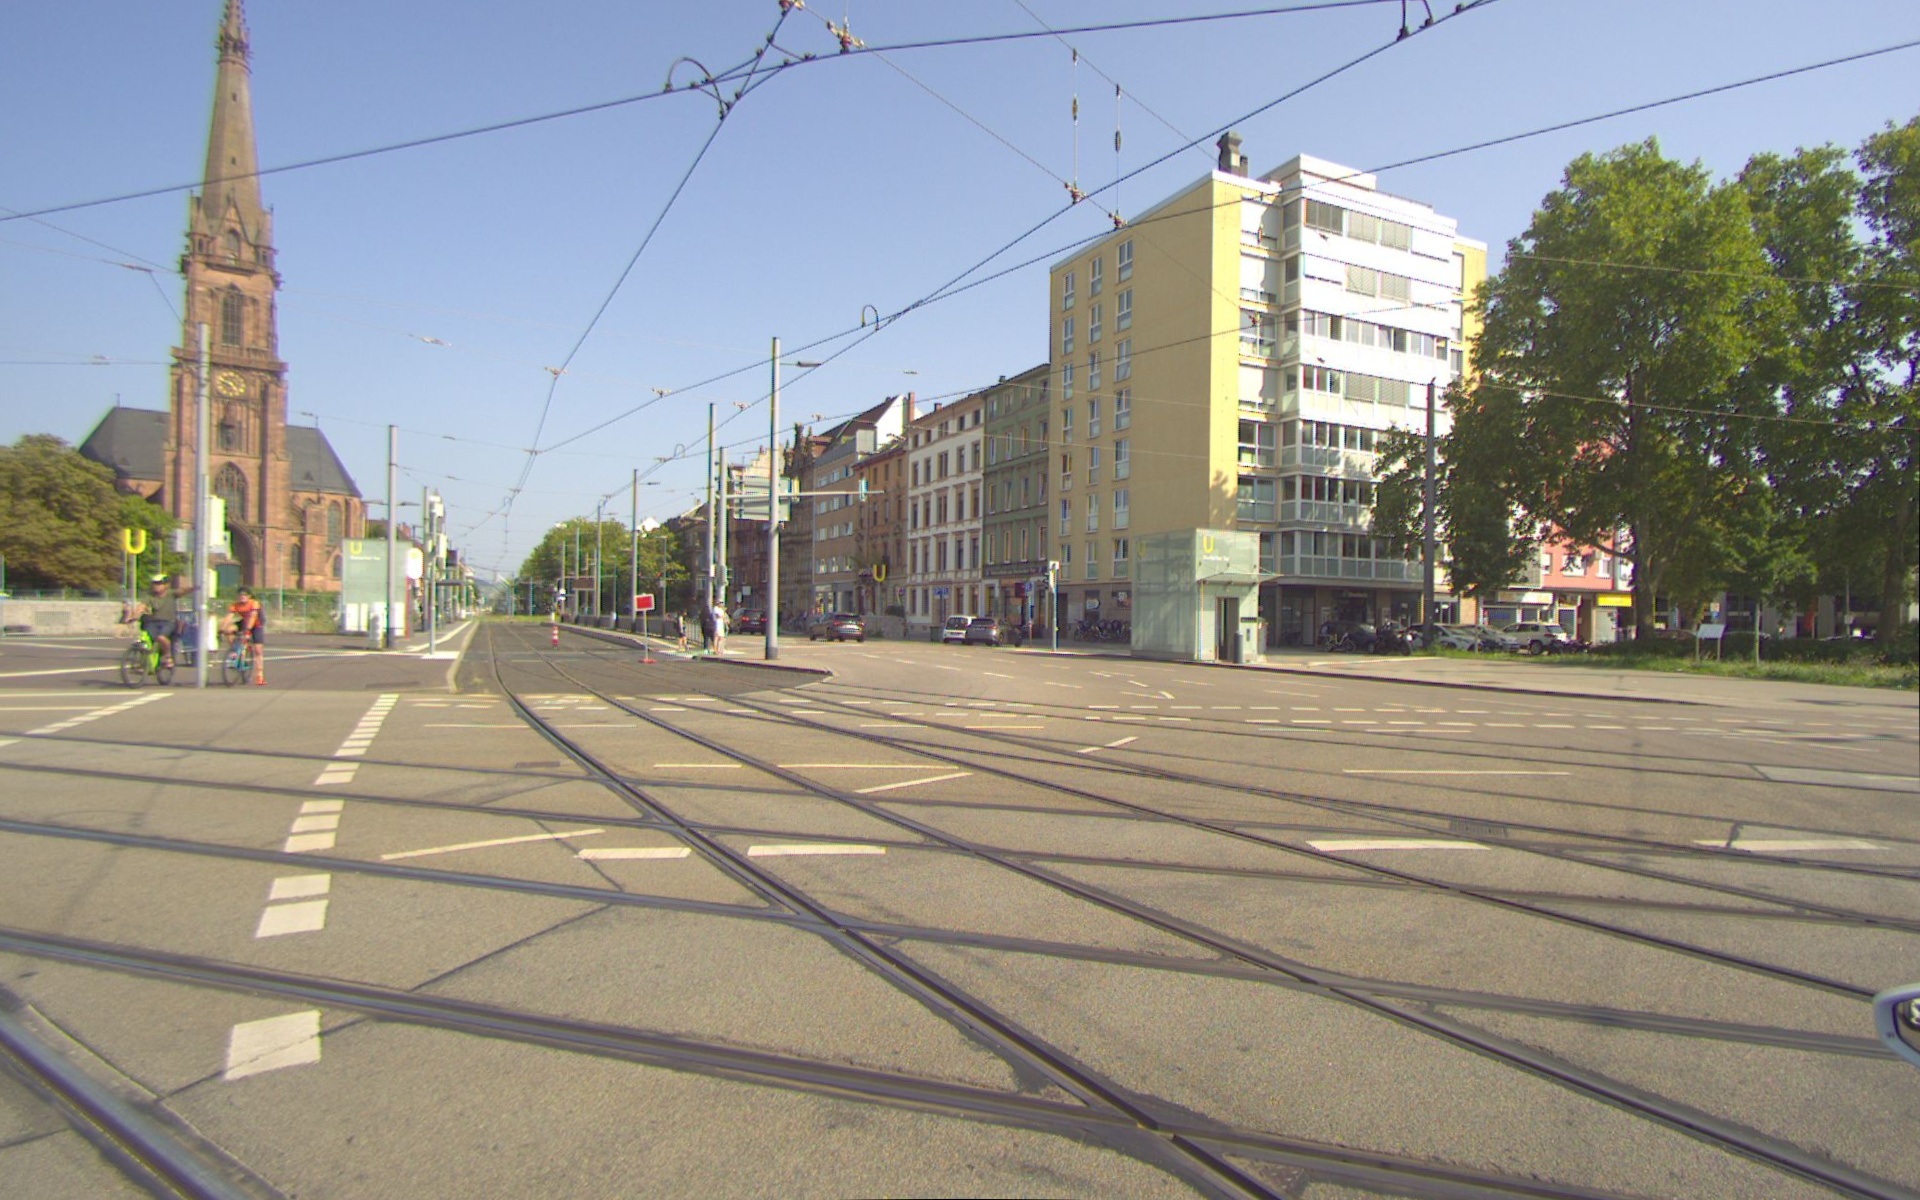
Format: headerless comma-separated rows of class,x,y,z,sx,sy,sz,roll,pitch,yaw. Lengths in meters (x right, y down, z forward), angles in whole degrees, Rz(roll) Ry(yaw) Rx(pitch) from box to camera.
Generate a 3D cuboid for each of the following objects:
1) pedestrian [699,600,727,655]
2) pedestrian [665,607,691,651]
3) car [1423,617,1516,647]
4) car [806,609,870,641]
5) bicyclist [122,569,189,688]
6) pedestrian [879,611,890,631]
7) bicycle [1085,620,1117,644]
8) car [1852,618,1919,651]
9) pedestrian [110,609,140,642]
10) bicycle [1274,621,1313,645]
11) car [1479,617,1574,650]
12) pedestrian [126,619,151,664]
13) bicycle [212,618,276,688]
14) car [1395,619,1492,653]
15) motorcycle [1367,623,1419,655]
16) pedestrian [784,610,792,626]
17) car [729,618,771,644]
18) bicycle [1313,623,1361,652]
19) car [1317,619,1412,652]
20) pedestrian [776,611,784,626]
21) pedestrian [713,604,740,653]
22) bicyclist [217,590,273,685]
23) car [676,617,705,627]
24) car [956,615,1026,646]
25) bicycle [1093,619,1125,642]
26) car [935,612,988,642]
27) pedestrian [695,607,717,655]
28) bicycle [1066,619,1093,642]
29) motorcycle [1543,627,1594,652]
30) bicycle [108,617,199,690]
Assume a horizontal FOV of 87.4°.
pedestrian,-8.299,0.911,33.734,0.822,1.812,0.726,-2,0,-18
pedestrian,-10.318,1.049,36.786,0.799,1.568,0.544,-2,0,-25
car,26.414,1.637,52.163,1.973,1.527,3.976,1,-1,-24
car,-6.017,1.208,49.293,1.845,1.443,4.330,2,-2,-25
bicyclist,-13.892,0.483,17.370,0.571,2.001,0.806,1,0,-11
pedestrian,-6.056,1.675,80.454,0.602,1.651,0.732,1,-1,-25
bicycle,7.682,1.734,54.701,0.598,1.278,1.979,1,-1,-33
car,42.239,1.514,44.272,1.974,1.394,3.974,1,-1,-26
pedestrian,-33.755,1.031,40.603,0.547,1.309,0.768,0,-1,17
bicycle,17.076,1.700,51.431,1.996,1.199,0.666,0,-1,-26
car,29.752,1.748,52.855,1.973,1.666,3.976,1,-1,-24
pedestrian,-33.141,1.676,40.525,0.434,1.784,0.641,0,-1,17
bicycle,-12.828,0.928,18.027,0.306,1.181,1.496,1,-1,-10
car,23.419,1.712,48.798,1.973,1.527,3.976,1,-1,-24
motorcycle,16.492,1.466,38.287,0.692,1.162,2.297,0,-1,-10
pedestrian,-19.237,1.977,112.168,0.712,1.811,0.851,1,-1,-25
car,-14.123,2.053,67.439,1.813,1.642,4.330,2,-2,-25
bicycle,17.354,1.715,46.316,0.518,1.251,2.283,1,-1,-29
car,18.796,1.640,46.858,1.639,1.460,4.169,1,-1,-24
pedestrian,-20.016,2.061,111.797,0.712,1.631,0.851,1,-1,-25
pedestrian,-8.439,1.013,36.271,0.805,1.715,0.647,-2,0,-26
bicyclist,-12.801,0.660,17.989,0.503,1.652,0.806,1,0,-11
car,-42.718,3.532,159.112,4.145,1.584,1.984,1,-1,-30
car,1.555,1.504,49.185,1.813,1.442,4.406,0,-2,25
bicycle,8.200,1.669,55.337,0.598,1.278,1.979,1,-1,-33
car,0.107,1.435,53.077,1.592,1.483,3.527,0,-2,22
pedestrian,-8.850,1.073,35.020,0.626,1.619,0.464,-2,0,-28
bicycle,6.883,1.758,57.956,0.596,1.278,1.985,1,-1,-25
motorcycle,25.332,1.622,41.865,0.692,1.015,1.953,0,-1,-10
bicycle,-13.895,0.885,17.360,0.370,1.181,1.856,1,-1,-10
